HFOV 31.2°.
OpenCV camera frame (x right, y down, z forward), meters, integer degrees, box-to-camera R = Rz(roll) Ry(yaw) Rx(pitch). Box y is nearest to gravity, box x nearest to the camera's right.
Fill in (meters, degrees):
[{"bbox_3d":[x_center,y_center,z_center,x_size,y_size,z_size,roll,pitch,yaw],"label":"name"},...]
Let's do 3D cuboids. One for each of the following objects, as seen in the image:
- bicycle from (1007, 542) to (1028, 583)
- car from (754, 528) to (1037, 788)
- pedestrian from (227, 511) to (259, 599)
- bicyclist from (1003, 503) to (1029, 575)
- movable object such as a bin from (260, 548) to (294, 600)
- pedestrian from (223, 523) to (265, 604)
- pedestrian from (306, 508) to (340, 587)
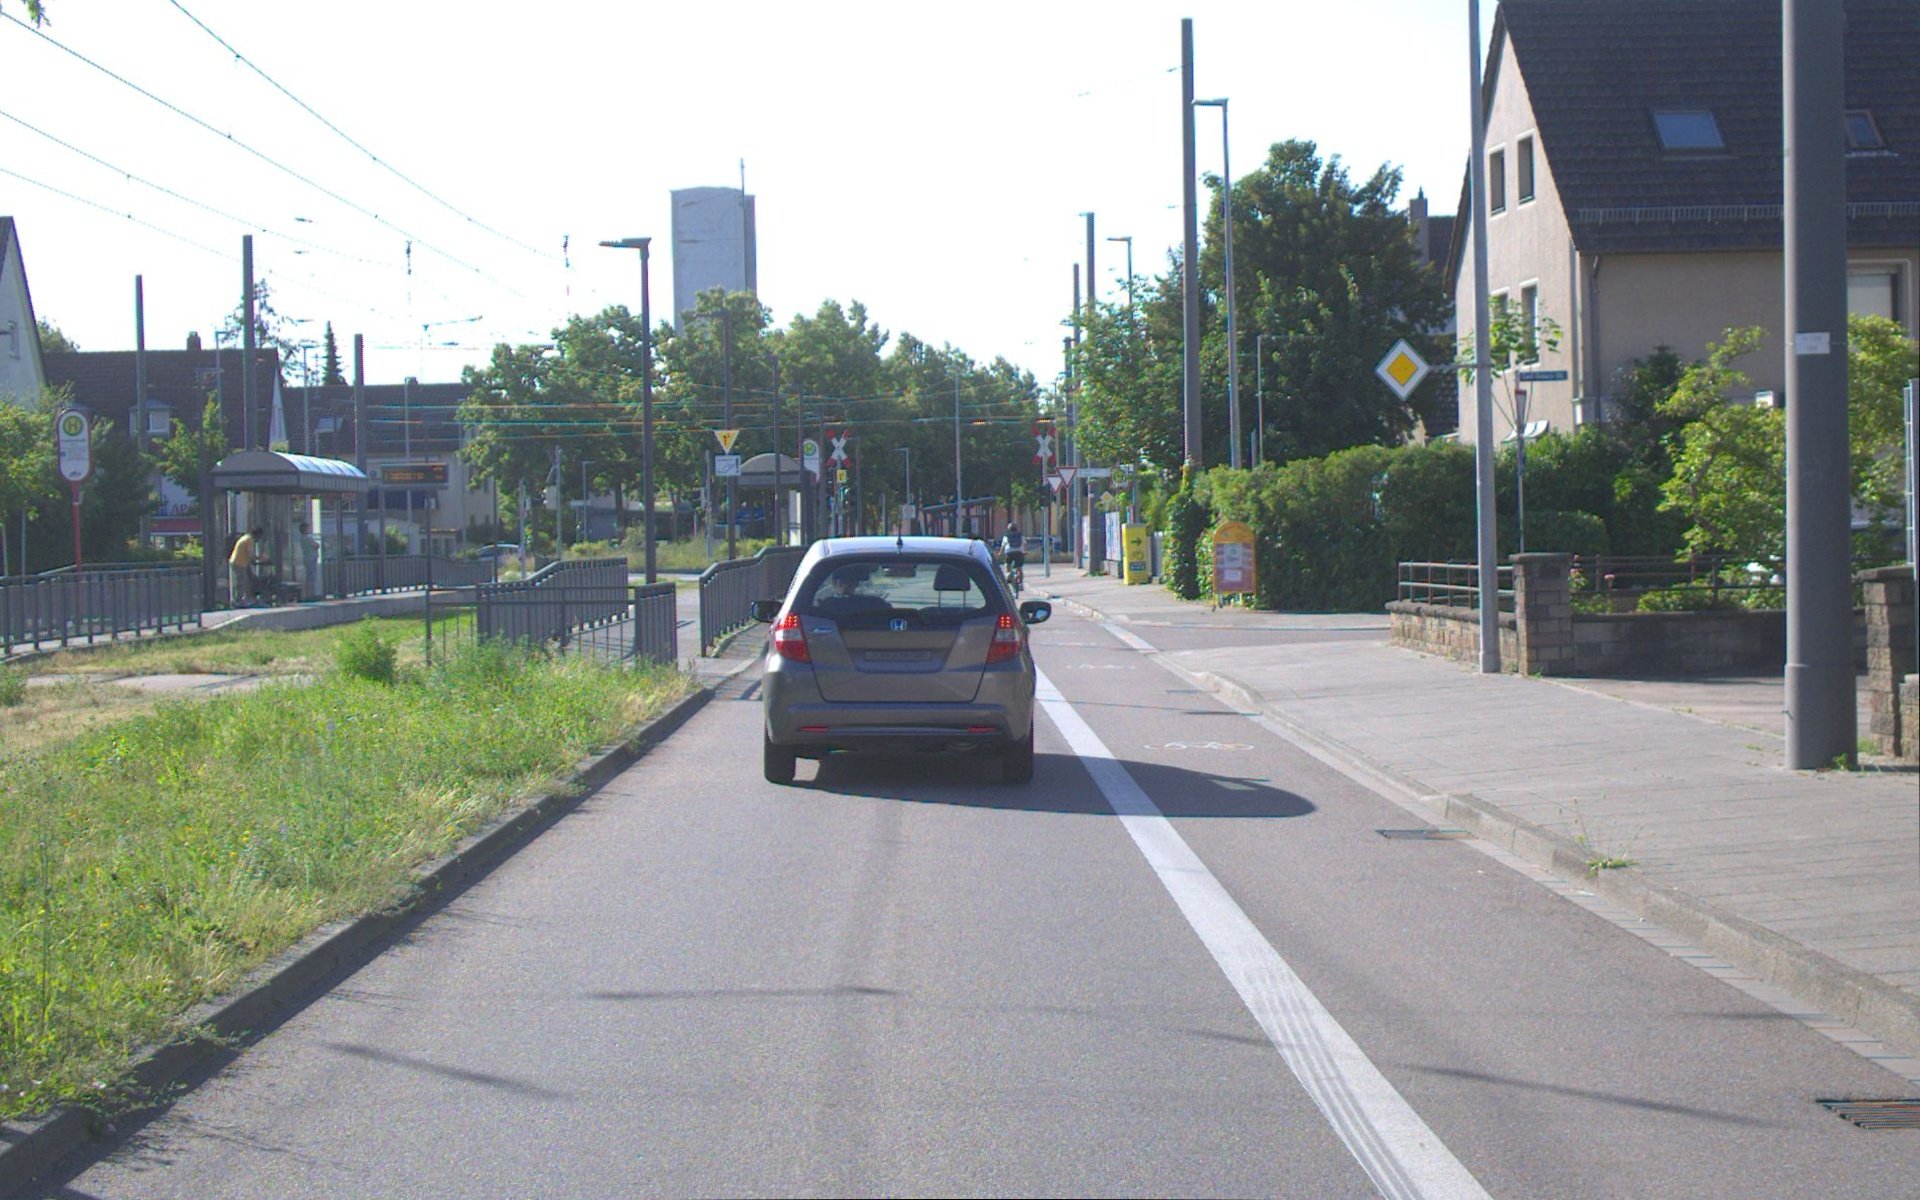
[{"bbox_3d":[1.381,-0.899,82.659,0.475,0.958,1.657,0,0,0],"label":"bicycle"},{"bbox_3d":[-0.419,0.322,22.187,1.670,1.530,3.487,1,1,-1],"label":"car"},{"bbox_3d":[-13.991,-0.880,67.106,0.519,1.702,0.581,-1,1,-5],"label":"pedestrian"},{"bbox_3d":[1.347,-1.459,82.446,0.598,1.695,0.683,0,0,0],"label":"bicyclist"},{"bbox_3d":[-13.041,-0.497,65.653,0.546,0.984,0.741,-1,1,-4],"label":"movable object such as a bin"},{"bbox_3d":[-13.649,-0.697,65.544,0.675,1.530,0.749,-1,1,-5],"label":"pedestrian"},{"bbox_3d":[-13.813,-1.143,74.529,0.500,1.690,0.771,-3,1,0],"label":"pedestrian"}]
